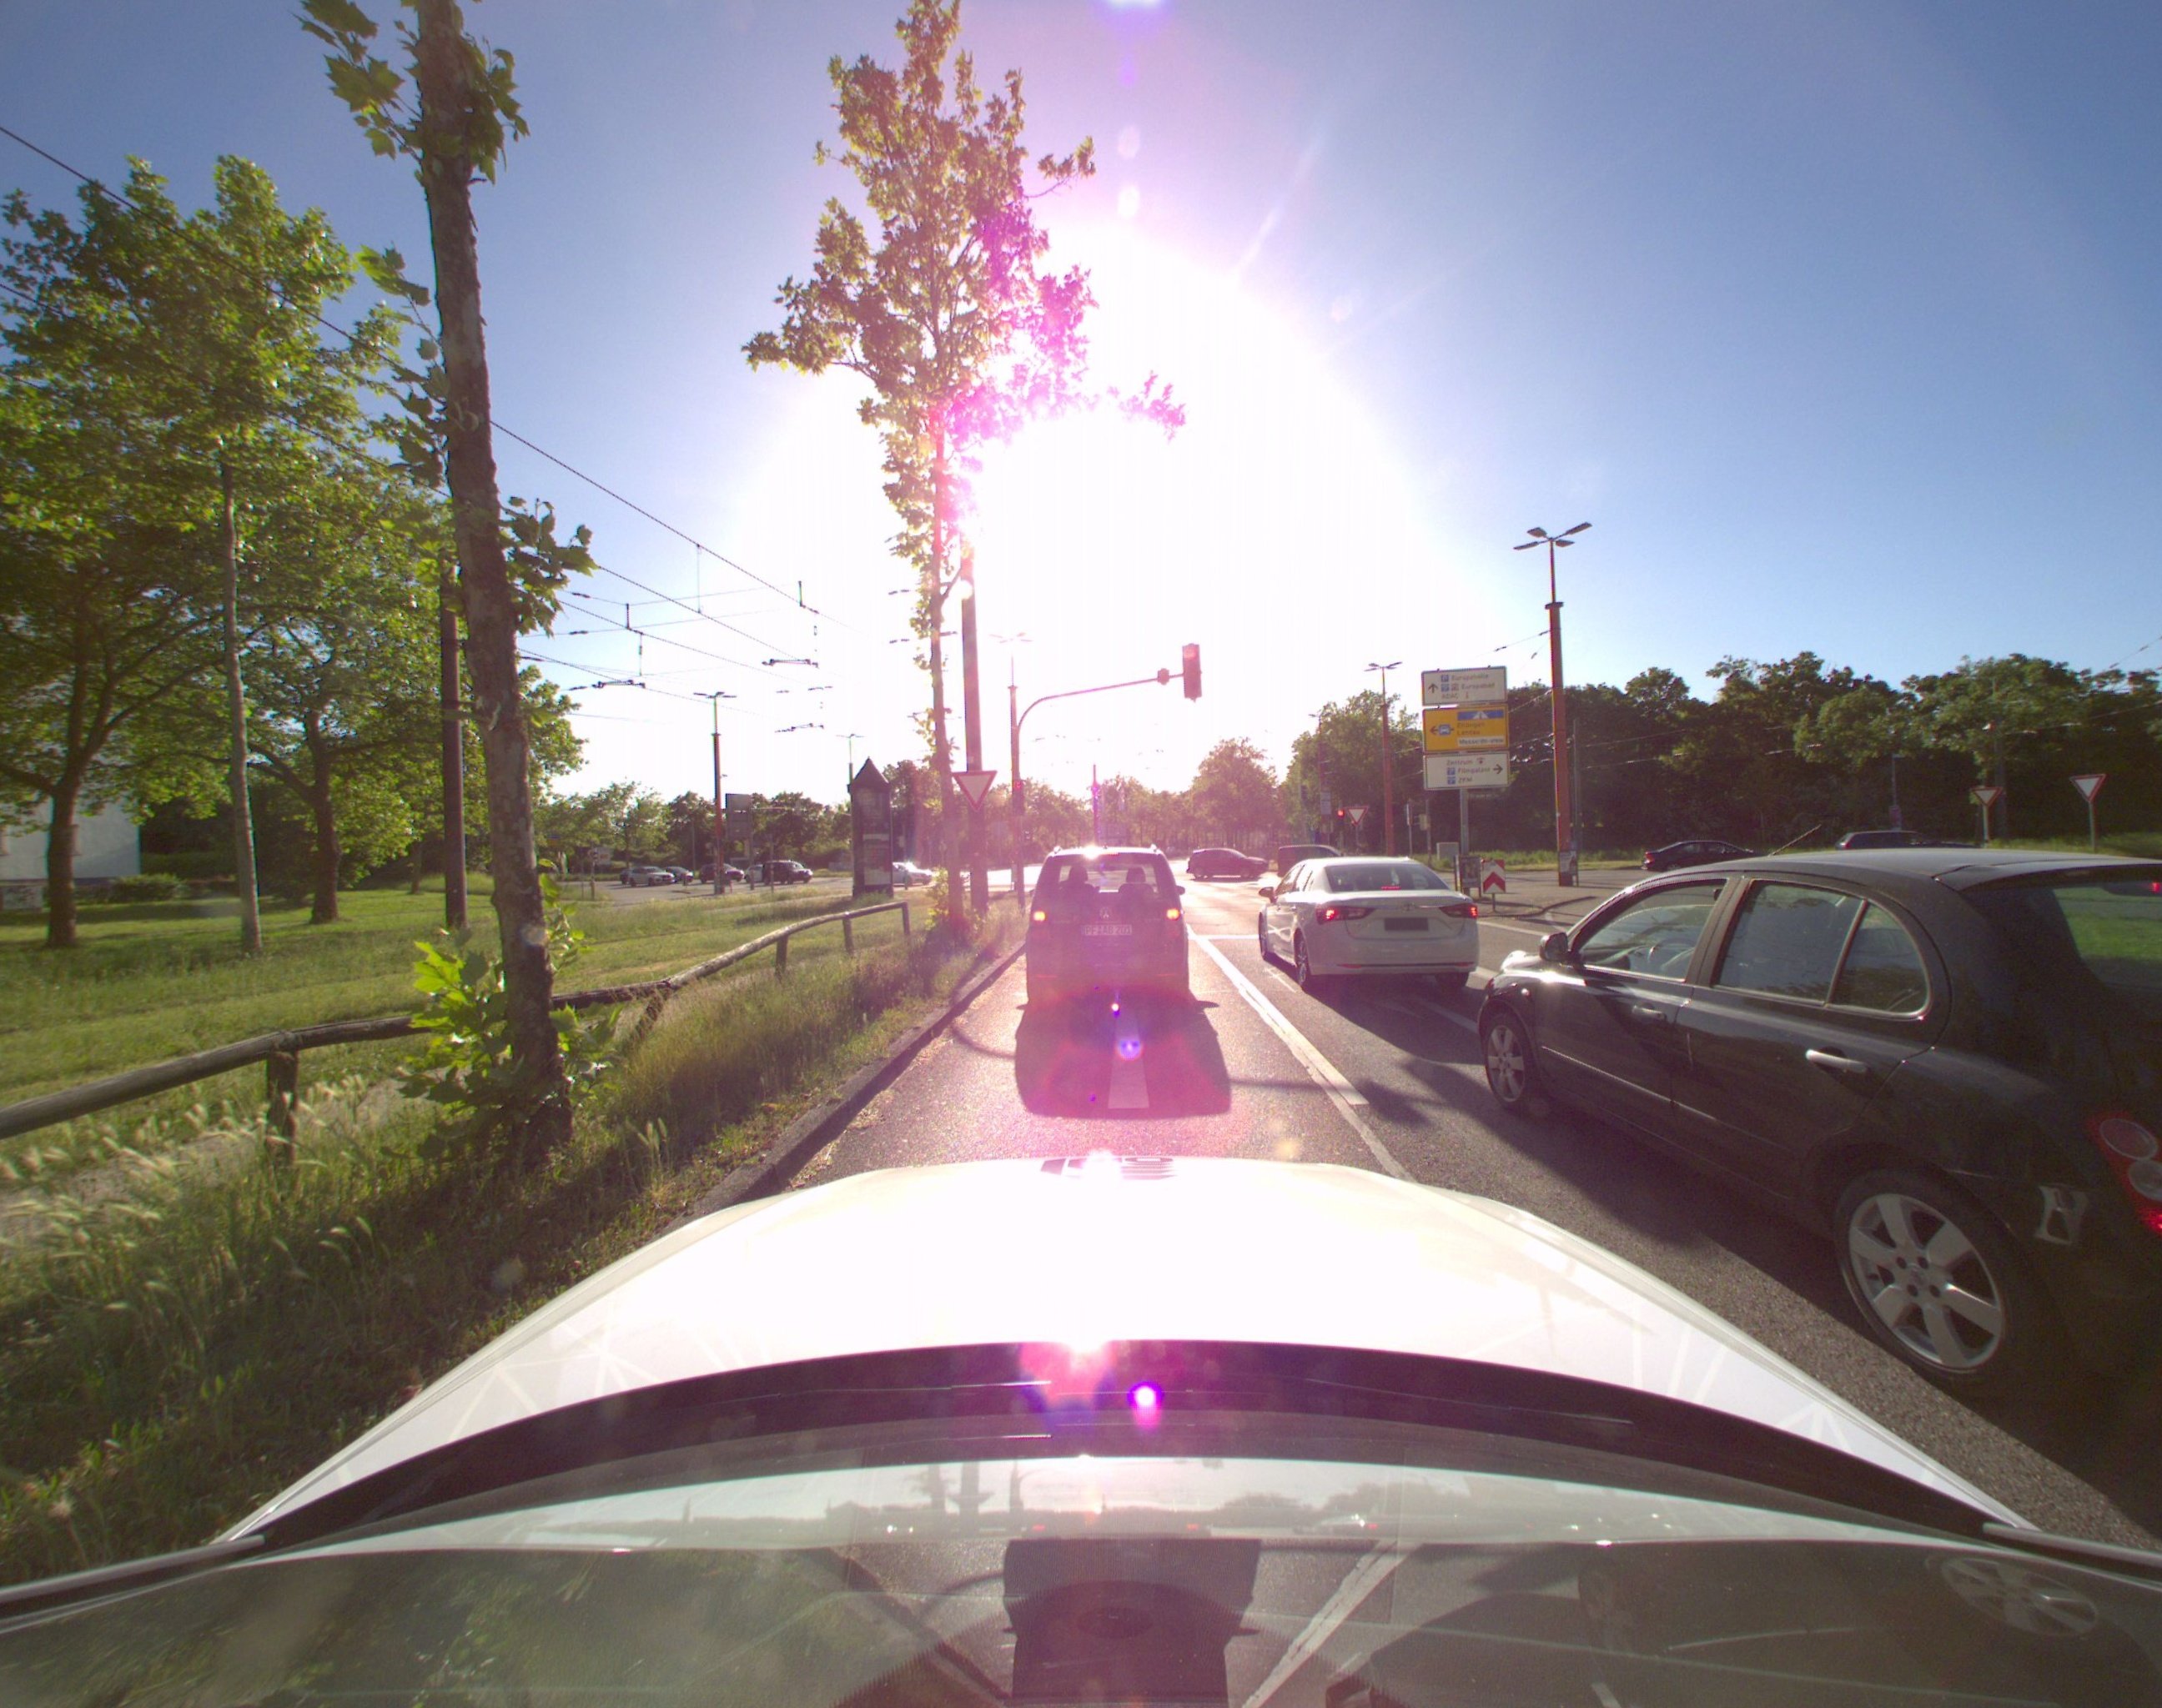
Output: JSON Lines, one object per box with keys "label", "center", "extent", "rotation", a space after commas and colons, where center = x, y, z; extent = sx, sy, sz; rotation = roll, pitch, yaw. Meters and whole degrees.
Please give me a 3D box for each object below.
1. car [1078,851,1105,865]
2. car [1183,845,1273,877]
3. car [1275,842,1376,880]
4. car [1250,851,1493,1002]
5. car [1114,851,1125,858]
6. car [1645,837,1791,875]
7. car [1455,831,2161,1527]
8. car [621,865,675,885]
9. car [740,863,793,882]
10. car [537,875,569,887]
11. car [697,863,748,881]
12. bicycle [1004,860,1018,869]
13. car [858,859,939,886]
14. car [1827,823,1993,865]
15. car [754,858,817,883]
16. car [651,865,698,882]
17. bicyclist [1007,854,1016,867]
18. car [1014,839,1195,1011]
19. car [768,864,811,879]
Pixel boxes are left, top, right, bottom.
{"label": "car", "center": [1.377, 0.460, 103.433], "extent": [1.977, 1.684, 4.853], "rotation": [-2, 0, 20]}
{"label": "car", "center": [8.134, 0.401, 45.215], "extent": [4.507, 1.668, 1.854], "rotation": [-2, 0, 30]}
{"label": "car", "center": [11.772, 0.343, 39.234], "extent": [4.302, 1.732, 1.854], "rotation": [-2, 0, 30]}
{"label": "car", "center": [3.296, 0.719, 10.113], "extent": [1.708, 1.454, 4.147], "rotation": [-2, 0, 3]}
{"label": "car", "center": [7.920, 0.165, 165.568], "extent": [1.647, 1.310, 3.827], "rotation": [-2, 0, 11]}
{"label": "car", "center": [24.670, 0.097, 31.740], "extent": [4.263, 1.327, 1.772], "rotation": [-2, 0, 31]}
{"label": "car", "center": [3.166, 0.693, 3.509], "extent": [1.550, 1.506, 3.517], "rotation": [-2, 0, 2]}
{"label": "car", "center": [-38.386, 1.883, 72.188], "extent": [4.735, 1.598, 1.926], "rotation": [-2, 0, 29]}
{"label": "car", "center": [-26.773, 1.590, 69.248], "extent": [4.169, 1.464, 1.926], "rotation": [-2, 0, 29]}
{"label": "car", "center": [-76.562, 3.897, 118.003], "extent": [4.411, 1.596, 2.012], "rotation": [-2, 0, 28]}
{"label": "car", "center": [-31.720, 1.567, 72.068], "extent": [4.318, 1.464, 1.926], "rotation": [-2, 0, 29]}
{"label": "bicycle", "center": [-8.148, 1.226, 94.789], "extent": [0.728, 1.090, 1.971], "rotation": [-2, 0, 21]}
{"label": "car", "center": [-11.701, 1.189, 52.267], "extent": [4.868, 1.575, 2.012], "rotation": [-2, 0, 28]}
{"label": "car", "center": [31.908, -0.356, 31.533], "extent": [4.179, 1.479, 1.765], "rotation": [-2, 0, 32]}
{"label": "car", "center": [-22.962, 1.300, 63.160], "extent": [4.735, 1.836, 1.926], "rotation": [-2, 0, 29]}
{"label": "car", "center": [-37.355, 1.772, 74.837], "extent": [4.004, 1.464, 1.926], "rotation": [-2, 0, 28]}
{"label": "bicyclist", "center": [-8.117, 0.759, 95.010], "extent": [0.686, 1.457, 0.879], "rotation": [-2, -1, 20]}
{"label": "car", "center": [0.294, 0.696, 9.985], "extent": [1.731, 1.641, 4.002], "rotation": [-2, 0, 2]}
{"label": "car", "center": [-31.726, 1.910, 88.617], "extent": [4.411, 1.596, 2.012], "rotation": [-2, 0, 28]}
